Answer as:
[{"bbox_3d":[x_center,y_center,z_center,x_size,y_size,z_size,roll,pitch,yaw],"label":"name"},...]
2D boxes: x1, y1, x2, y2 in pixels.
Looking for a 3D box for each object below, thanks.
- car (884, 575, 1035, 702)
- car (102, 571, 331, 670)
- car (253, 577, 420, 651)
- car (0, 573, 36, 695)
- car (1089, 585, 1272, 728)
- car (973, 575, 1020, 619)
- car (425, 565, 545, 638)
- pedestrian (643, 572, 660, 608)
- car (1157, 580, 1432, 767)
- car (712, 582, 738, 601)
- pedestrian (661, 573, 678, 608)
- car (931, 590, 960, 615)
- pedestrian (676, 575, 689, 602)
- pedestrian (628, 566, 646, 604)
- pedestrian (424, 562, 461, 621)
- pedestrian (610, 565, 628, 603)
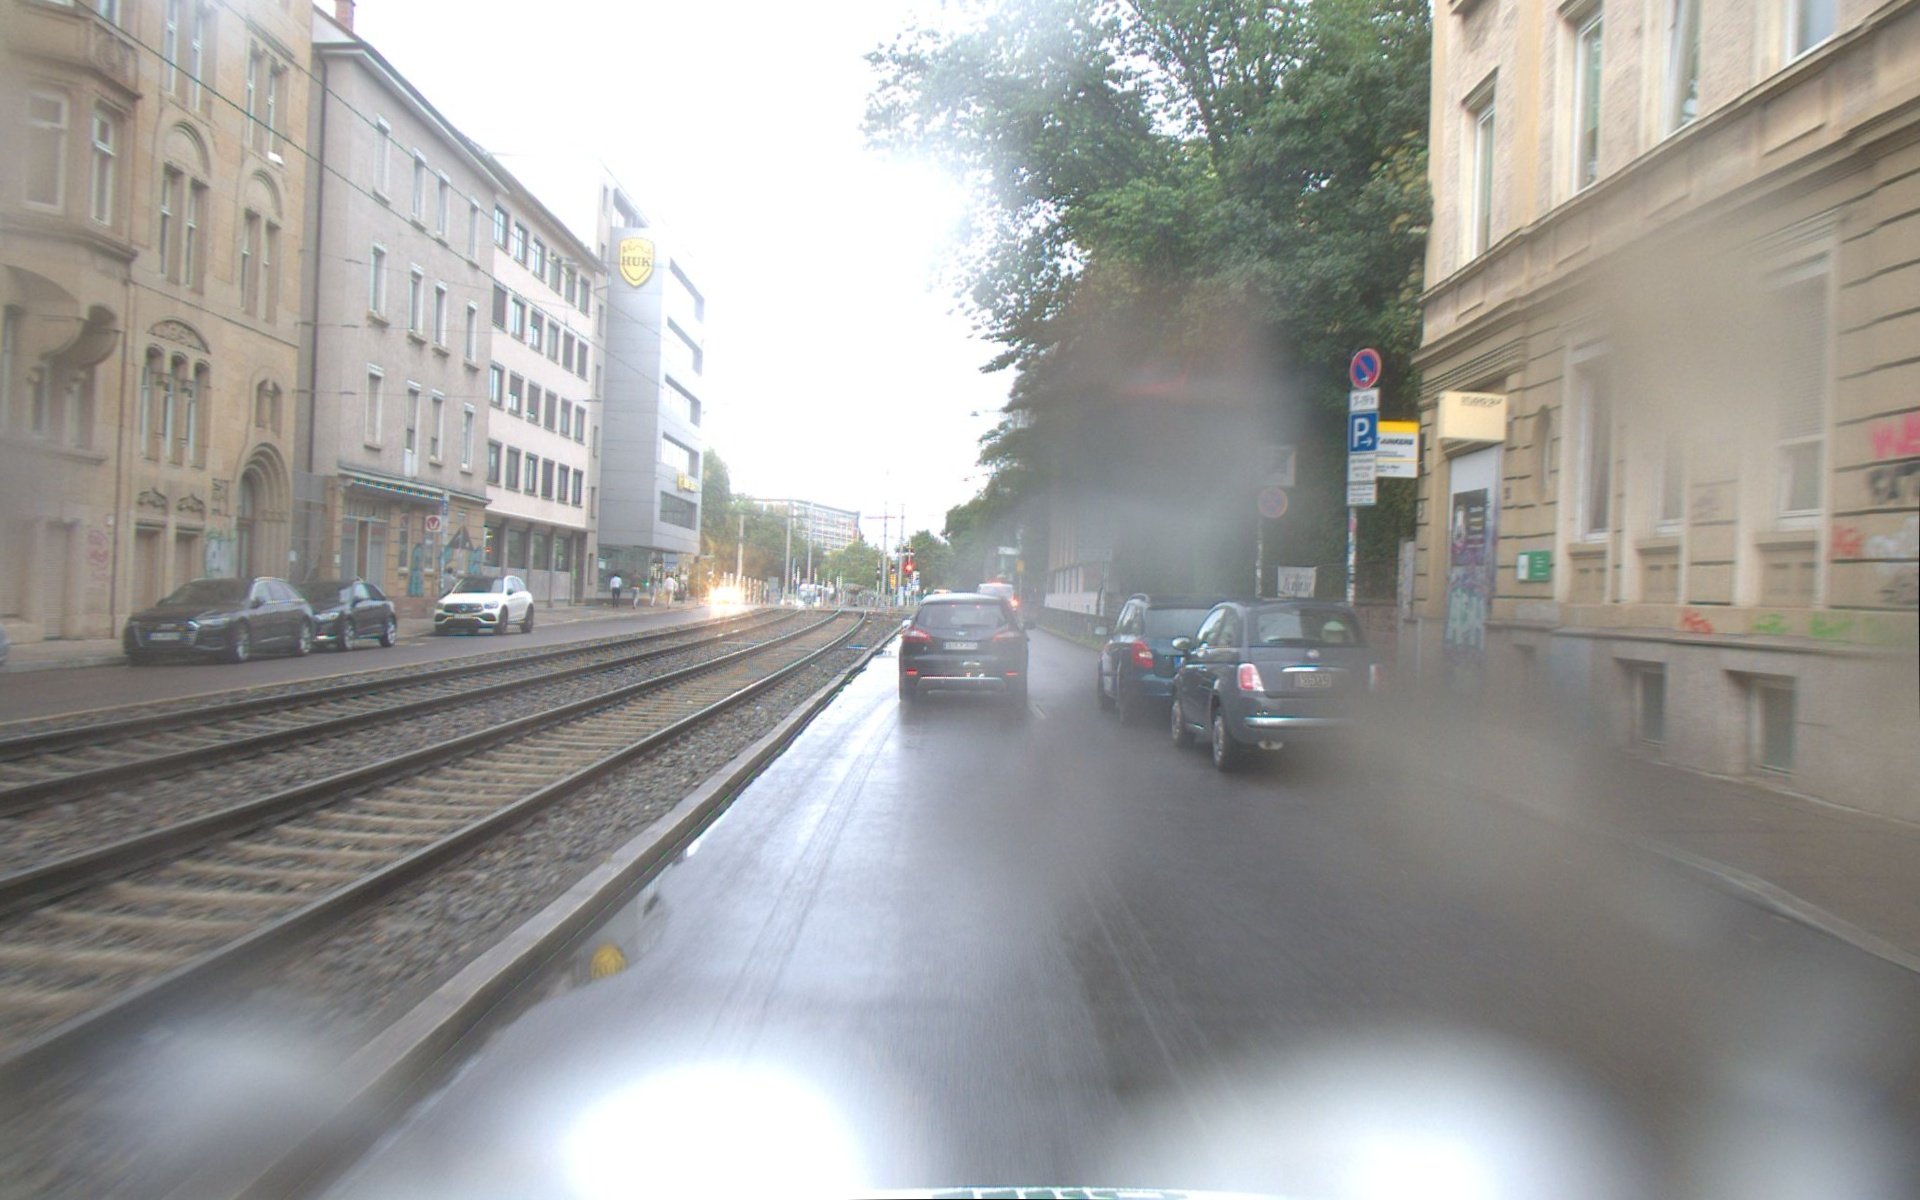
[{"bbox_3d":[-0.009,0.546,23.966,1.953,1.622,4.270,1,-1,0],"label":"car"},{"bbox_3d":[-13.149,0.348,29.612,1.953,1.545,4.675,2,0,-1],"label":"car"},{"bbox_3d":[-13.267,0.285,35.470,1.953,1.400,4.237,2,0,-1],"label":"car"},{"bbox_3d":[-13.102,0.386,19.182,1.953,1.545,4.991,2,0,-1],"label":"car"},{"bbox_3d":[2.636,0.621,20.588,1.609,1.542,4.038,2,0,-1],"label":"car"},{"bbox_3d":[1.610,-0.097,74.461,1.953,1.848,4.270,1,-1,0],"label":"car"},{"bbox_3d":[-13.389,0.055,46.948,1.953,1.871,5.070,2,0,-1],"label":"car"},{"bbox_3d":[-16.688,-0.530,89.535,0.729,1.886,0.839,1,-2,-2],"label":"pedestrian"},{"bbox_3d":[3.056,0.606,15.916,1.703,1.515,3.999,2,0,-1],"label":"car"},{"bbox_3d":[-18.979,-0.688,133.547,1.956,1.467,3.992,2,0,-9],"label":"car"},{"bbox_3d":[-15.754,-0.505,89.770,0.729,1.886,0.839,1,-2,-2],"label":"pedestrian"},{"bbox_3d":[-0.993,0.217,114.849,1.953,1.622,4.270,1,-1,0],"label":"car"},{"bbox_3d":[-19.816,-0.824,118.110,0.729,1.886,0.839,1,-2,-2],"label":"pedestrian"},{"bbox_3d":[-16.284,-0.741,83.368,0.729,1.886,0.839,1,-2,-2],"label":"pedestrian"},{"bbox_3d":[-16.004,-0.268,51.151,0.785,1.781,0.984,2,0,-1],"label":"pedestrian"},{"bbox_3d":[-17.175,-0.790,83.306,0.729,1.886,0.839,1,-2,-2],"label":"pedestrian"}]
